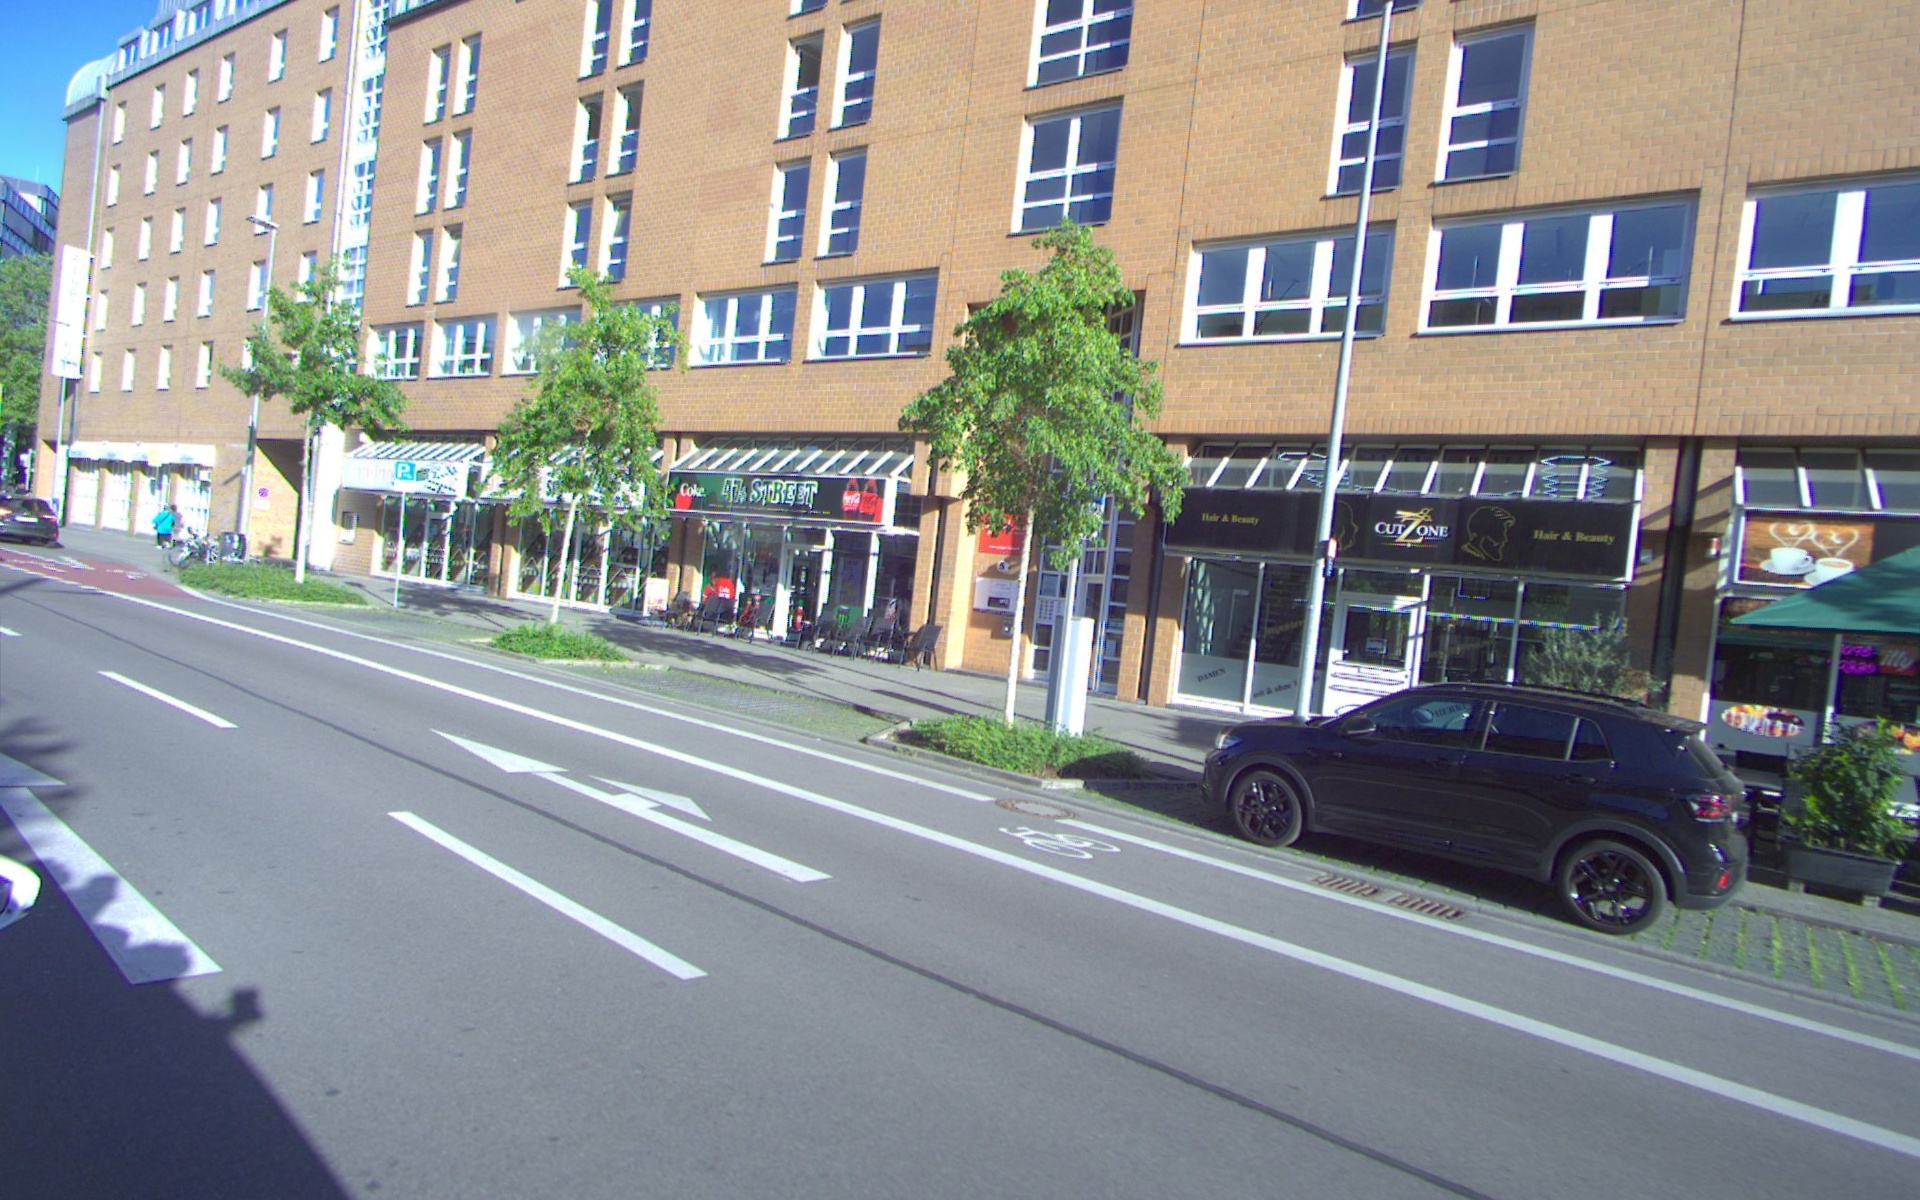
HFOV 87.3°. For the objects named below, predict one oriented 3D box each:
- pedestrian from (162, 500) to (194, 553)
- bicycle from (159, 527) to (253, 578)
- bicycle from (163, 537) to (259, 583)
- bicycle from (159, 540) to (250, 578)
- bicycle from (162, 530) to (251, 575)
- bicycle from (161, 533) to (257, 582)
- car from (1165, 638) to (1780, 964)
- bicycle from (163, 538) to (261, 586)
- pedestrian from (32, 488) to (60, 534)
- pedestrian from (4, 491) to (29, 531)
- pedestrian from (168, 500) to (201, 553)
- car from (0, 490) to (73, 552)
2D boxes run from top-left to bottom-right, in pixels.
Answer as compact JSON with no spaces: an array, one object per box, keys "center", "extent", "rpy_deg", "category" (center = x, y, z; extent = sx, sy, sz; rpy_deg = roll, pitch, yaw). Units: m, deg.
[{"center":[-28.895,-2.727,37.160],"extent":[0.736,1.844,0.607],"rpy_deg":[6,1,32],"category":"pedestrian"},{"center":[-20.305,-1.267,27.124],"extent":[0.484,1.151,1.940],"rpy_deg":[6,1,43],"category":"bicycle"},{"center":[-19.485,-1.040,26.194],"extent":[1.936,0.981,0.548],"rpy_deg":[5,1,-40],"category":"bicycle"},{"center":[-20.935,-1.139,27.927],"extent":[1.930,0.846,0.550],"rpy_deg":[5,1,-31],"category":"bicycle"},{"center":[-21.805,-1.371,29.125],"extent":[0.617,1.088,1.939],"rpy_deg":[6,1,44],"category":"bicycle"},{"center":[-19.945,-1.122,26.758],"extent":[0.547,1.089,1.940],"rpy_deg":[6,1,43],"category":"bicycle"},{"center":[4.070,1.393,8.425],"extent":[4.169,1.657,1.719],"rpy_deg":[6,1,39],"category":"car"},{"center":[-19.153,-0.959,25.782],"extent":[1.936,1.035,0.496],"rpy_deg":[5,1,-40],"category":"bicycle"},{"center":[-39.104,-3.810,43.044],"extent":[0.736,1.844,0.607],"rpy_deg":[6,1,32],"category":"pedestrian"},{"center":[-45.741,-4.296,48.765],"extent":[0.736,1.844,0.607],"rpy_deg":[6,1,32],"category":"pedestrian"},{"center":[-28.356,-2.686,36.774],"extent":[0.736,1.844,0.607],"rpy_deg":[6,1,32],"category":"pedestrian"},{"center":[-29.637,-2.570,31.271],"extent":[4.557,1.578,1.849],"rpy_deg":[6,-2,33],"category":"car"}]
